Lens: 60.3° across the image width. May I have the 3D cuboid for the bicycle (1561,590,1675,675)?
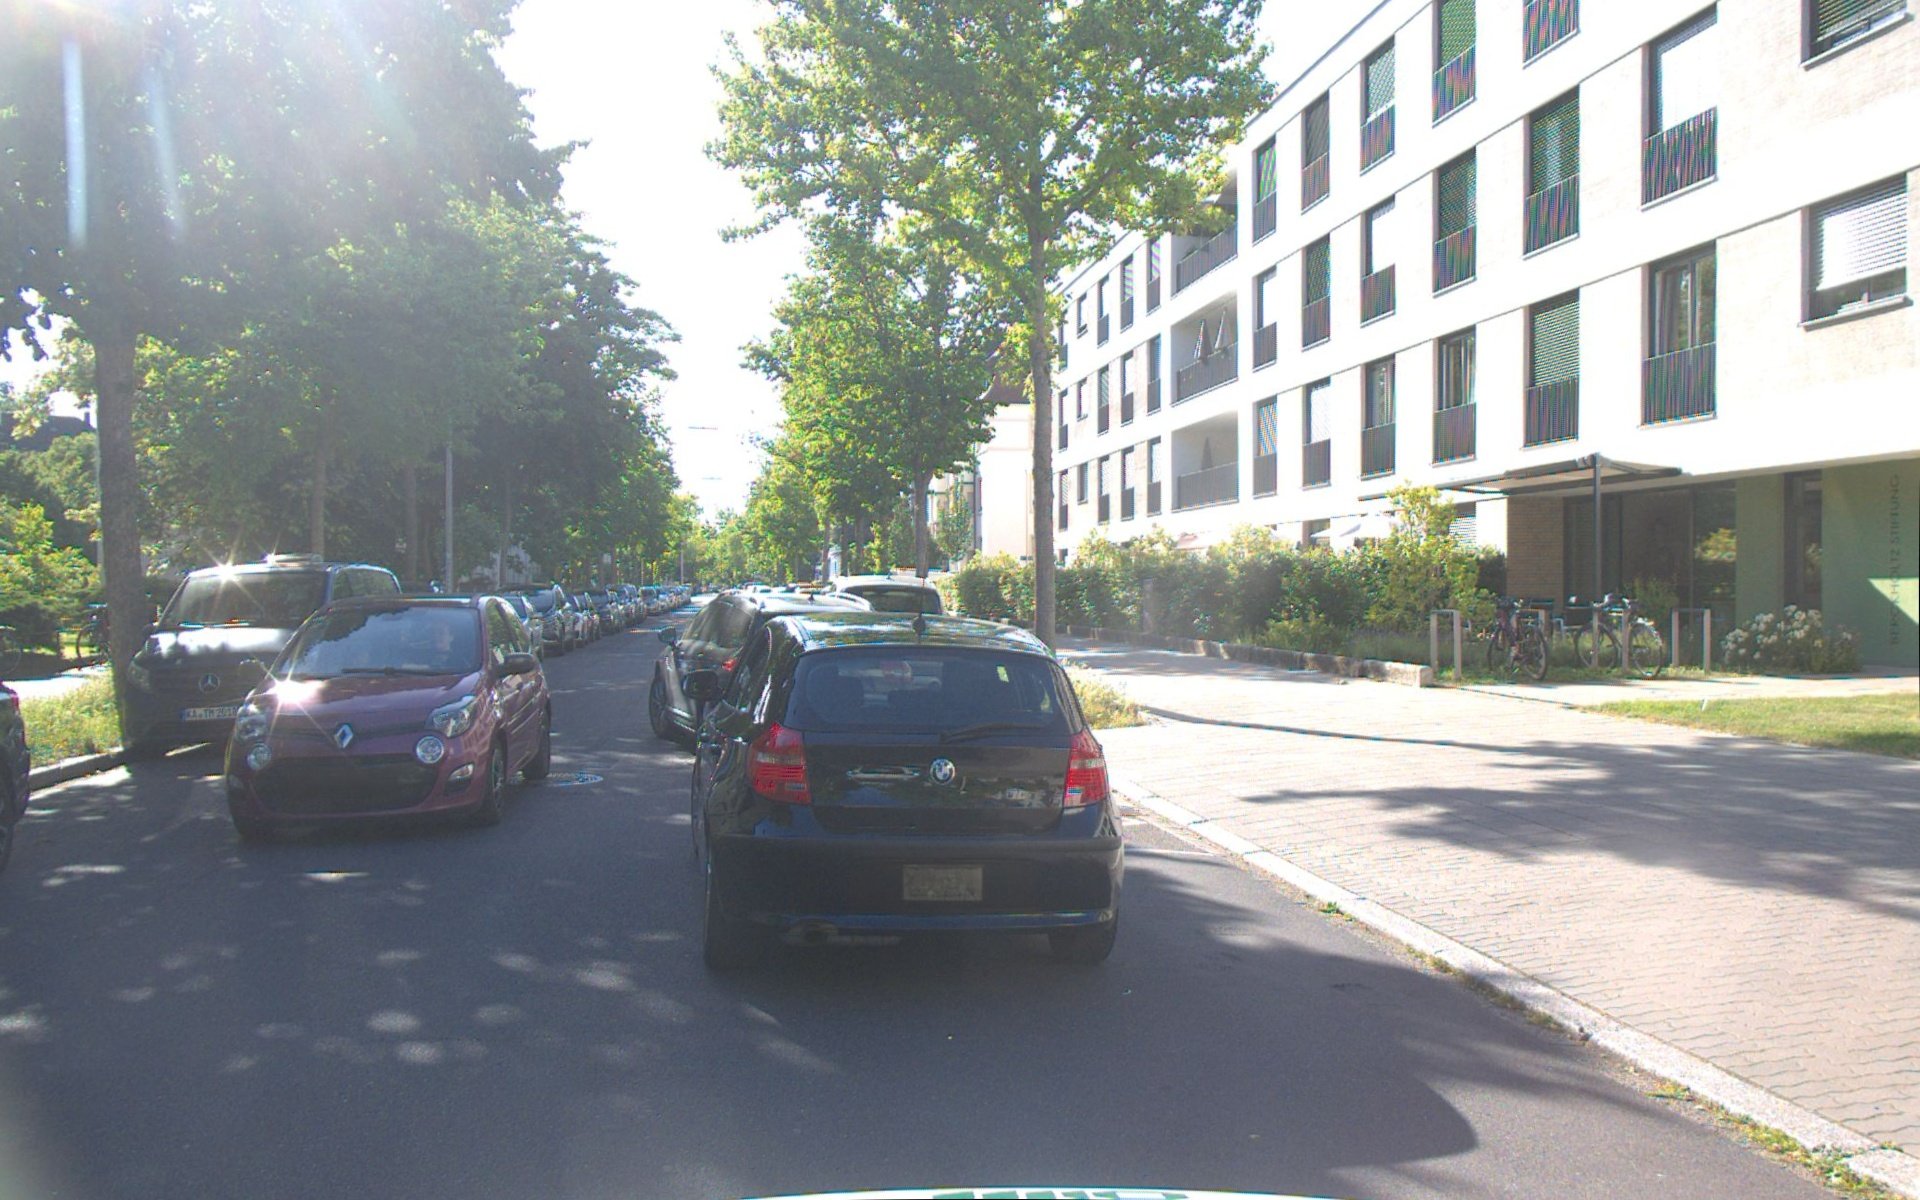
[{"bbox_3d":[8.723,0.408,22.007,0.536,1.073,1.775,-1,0,-10],"label":"bicycle"}]

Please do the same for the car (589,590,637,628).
[{"bbox_3d":[-13.714,0.334,65.533,1.582,1.416,3.858,-2,1,-9],"label":"car"}]

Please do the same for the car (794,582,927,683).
[{"bbox_3d":[-1.726,0.485,27.580,1.664,1.550,3.988,0,0,-12],"label":"car"}]

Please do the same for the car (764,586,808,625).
[{"bbox_3d":[-7.112,0.194,67.498,1.688,1.506,3.845,2,0,-7],"label":"car"}]

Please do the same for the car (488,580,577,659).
[{"bbox_3d":[-10.058,0.417,39.148,1.582,1.708,4.226,-2,1,-9],"label":"car"}]

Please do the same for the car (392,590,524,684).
[{"bbox_3d":[-8.637,0.579,28.729,1.582,1.452,4.050,-2,1,-9],"label":"car"}]

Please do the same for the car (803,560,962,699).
[{"bbox_3d":[-1.128,0.357,21.924,1.812,1.659,4.404,0,0,-6],"label":"car"}]

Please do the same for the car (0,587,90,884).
[{"bbox_3d":[-5.687,0.761,7.525,1.479,1.575,4.769,-3,1,-8],"label":"car"}]

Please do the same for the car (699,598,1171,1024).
[{"bbox_3d":[-0.331,0.734,7.599,1.620,1.421,3.403,-1,1,-10],"label":"car"}]

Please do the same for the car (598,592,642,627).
[{"bbox_3d":[-14.524,0.376,70.732,1.582,1.416,3.858,-2,1,-9],"label":"car"}]

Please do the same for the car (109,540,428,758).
[{"bbox_3d":[-7.176,0.419,17.780,1.792,1.937,5.134,-2,1,-7],"label":"car"}]

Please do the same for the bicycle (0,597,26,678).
[{"bbox_3d":[-15.569,0.587,25.309,2.113,1.230,0.686,-1,1,-19],"label":"bicycle"}]

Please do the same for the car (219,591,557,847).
[{"bbox_3d":[-3.745,0.685,11.318,1.476,1.451,3.173,-1,1,-6],"label":"car"}]

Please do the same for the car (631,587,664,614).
[{"bbox_3d":[-16.903,0.006,89.489,1.582,1.416,3.858,-2,1,-9],"label":"car"}]

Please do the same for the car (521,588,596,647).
[{"bbox_3d":[-10.832,0.441,44.789,1.582,1.478,3.858,-2,1,-9],"label":"car"}]

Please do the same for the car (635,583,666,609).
[{"bbox_3d":[-17.711,-0.229,94.842,1.582,1.416,3.858,-2,1,-9],"label":"car"}]

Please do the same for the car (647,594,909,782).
[{"bbox_3d":[-1.818,0.692,15.355,1.624,1.450,3.980,-1,1,-18],"label":"car"}]

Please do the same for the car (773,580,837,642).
[{"bbox_3d":[-4.510,0.303,47.797,1.688,1.669,3.845,2,0,-7],"label":"car"}]

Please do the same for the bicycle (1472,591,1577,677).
[{"bbox_3d":[7.405,0.428,21.769,0.536,1.073,1.687,-1,0,-10],"label":"bicycle"}]

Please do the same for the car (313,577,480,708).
[{"bbox_3d":[-7.883,0.524,23.483,1.583,1.639,4.219,-2,1,-10],"label":"car"}]

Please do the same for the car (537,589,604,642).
[{"bbox_3d":[-11.579,0.422,49.331,1.582,1.478,3.858,-2,1,-9],"label":"car"}]

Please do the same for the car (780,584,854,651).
[{"bbox_3d":[-3.661,0.409,41.861,1.688,1.555,3.994,2,0,-7],"label":"car"}]

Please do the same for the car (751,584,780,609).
[{"bbox_3d":[-12.021,-0.230,102.386,1.687,1.506,3.847,-1,1,-5],"label":"car"}]

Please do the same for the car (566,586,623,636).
[{"bbox_3d":[-12.379,0.345,56.188,1.582,1.570,3.858,-2,1,-9],"label":"car"}]

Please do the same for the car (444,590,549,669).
[{"bbox_3d":[-9.392,0.558,33.757,1.582,1.452,3.718,-2,1,-9],"label":"car"}]

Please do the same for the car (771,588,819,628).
[{"bbox_3d":[-6.284,0.281,62.790,1.688,1.403,3.845,2,0,-7],"label":"car"}]
